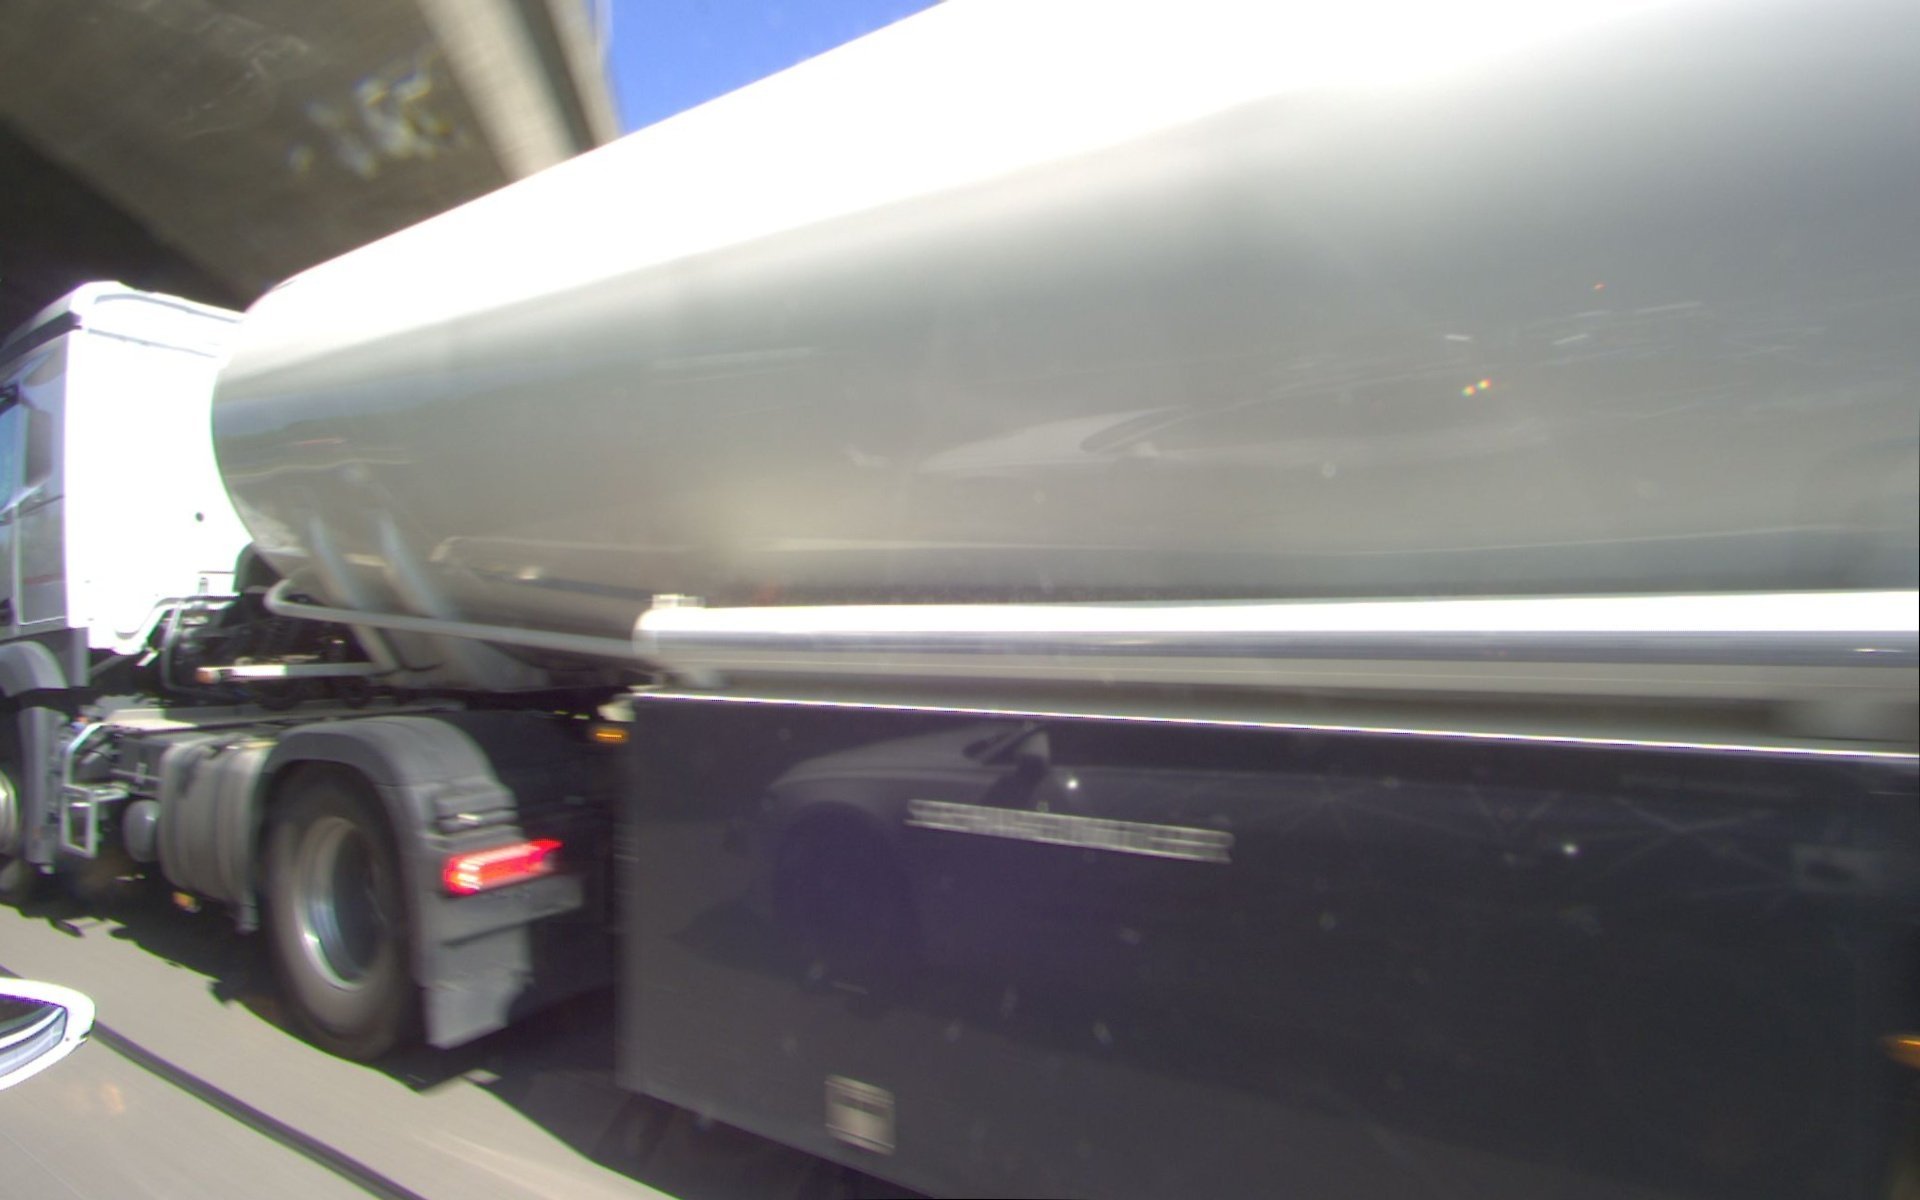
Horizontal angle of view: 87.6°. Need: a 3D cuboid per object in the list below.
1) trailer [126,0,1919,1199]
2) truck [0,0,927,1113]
[{"bbox_3d":[1.769,-0.255,2.301,10.996,3.433,2.642,-1,-1,34],"label":"trailer"},{"bbox_3d":[-3.548,-0.160,5.737,6.396,3.418,2.633,-1,-1,33],"label":"truck"}]
